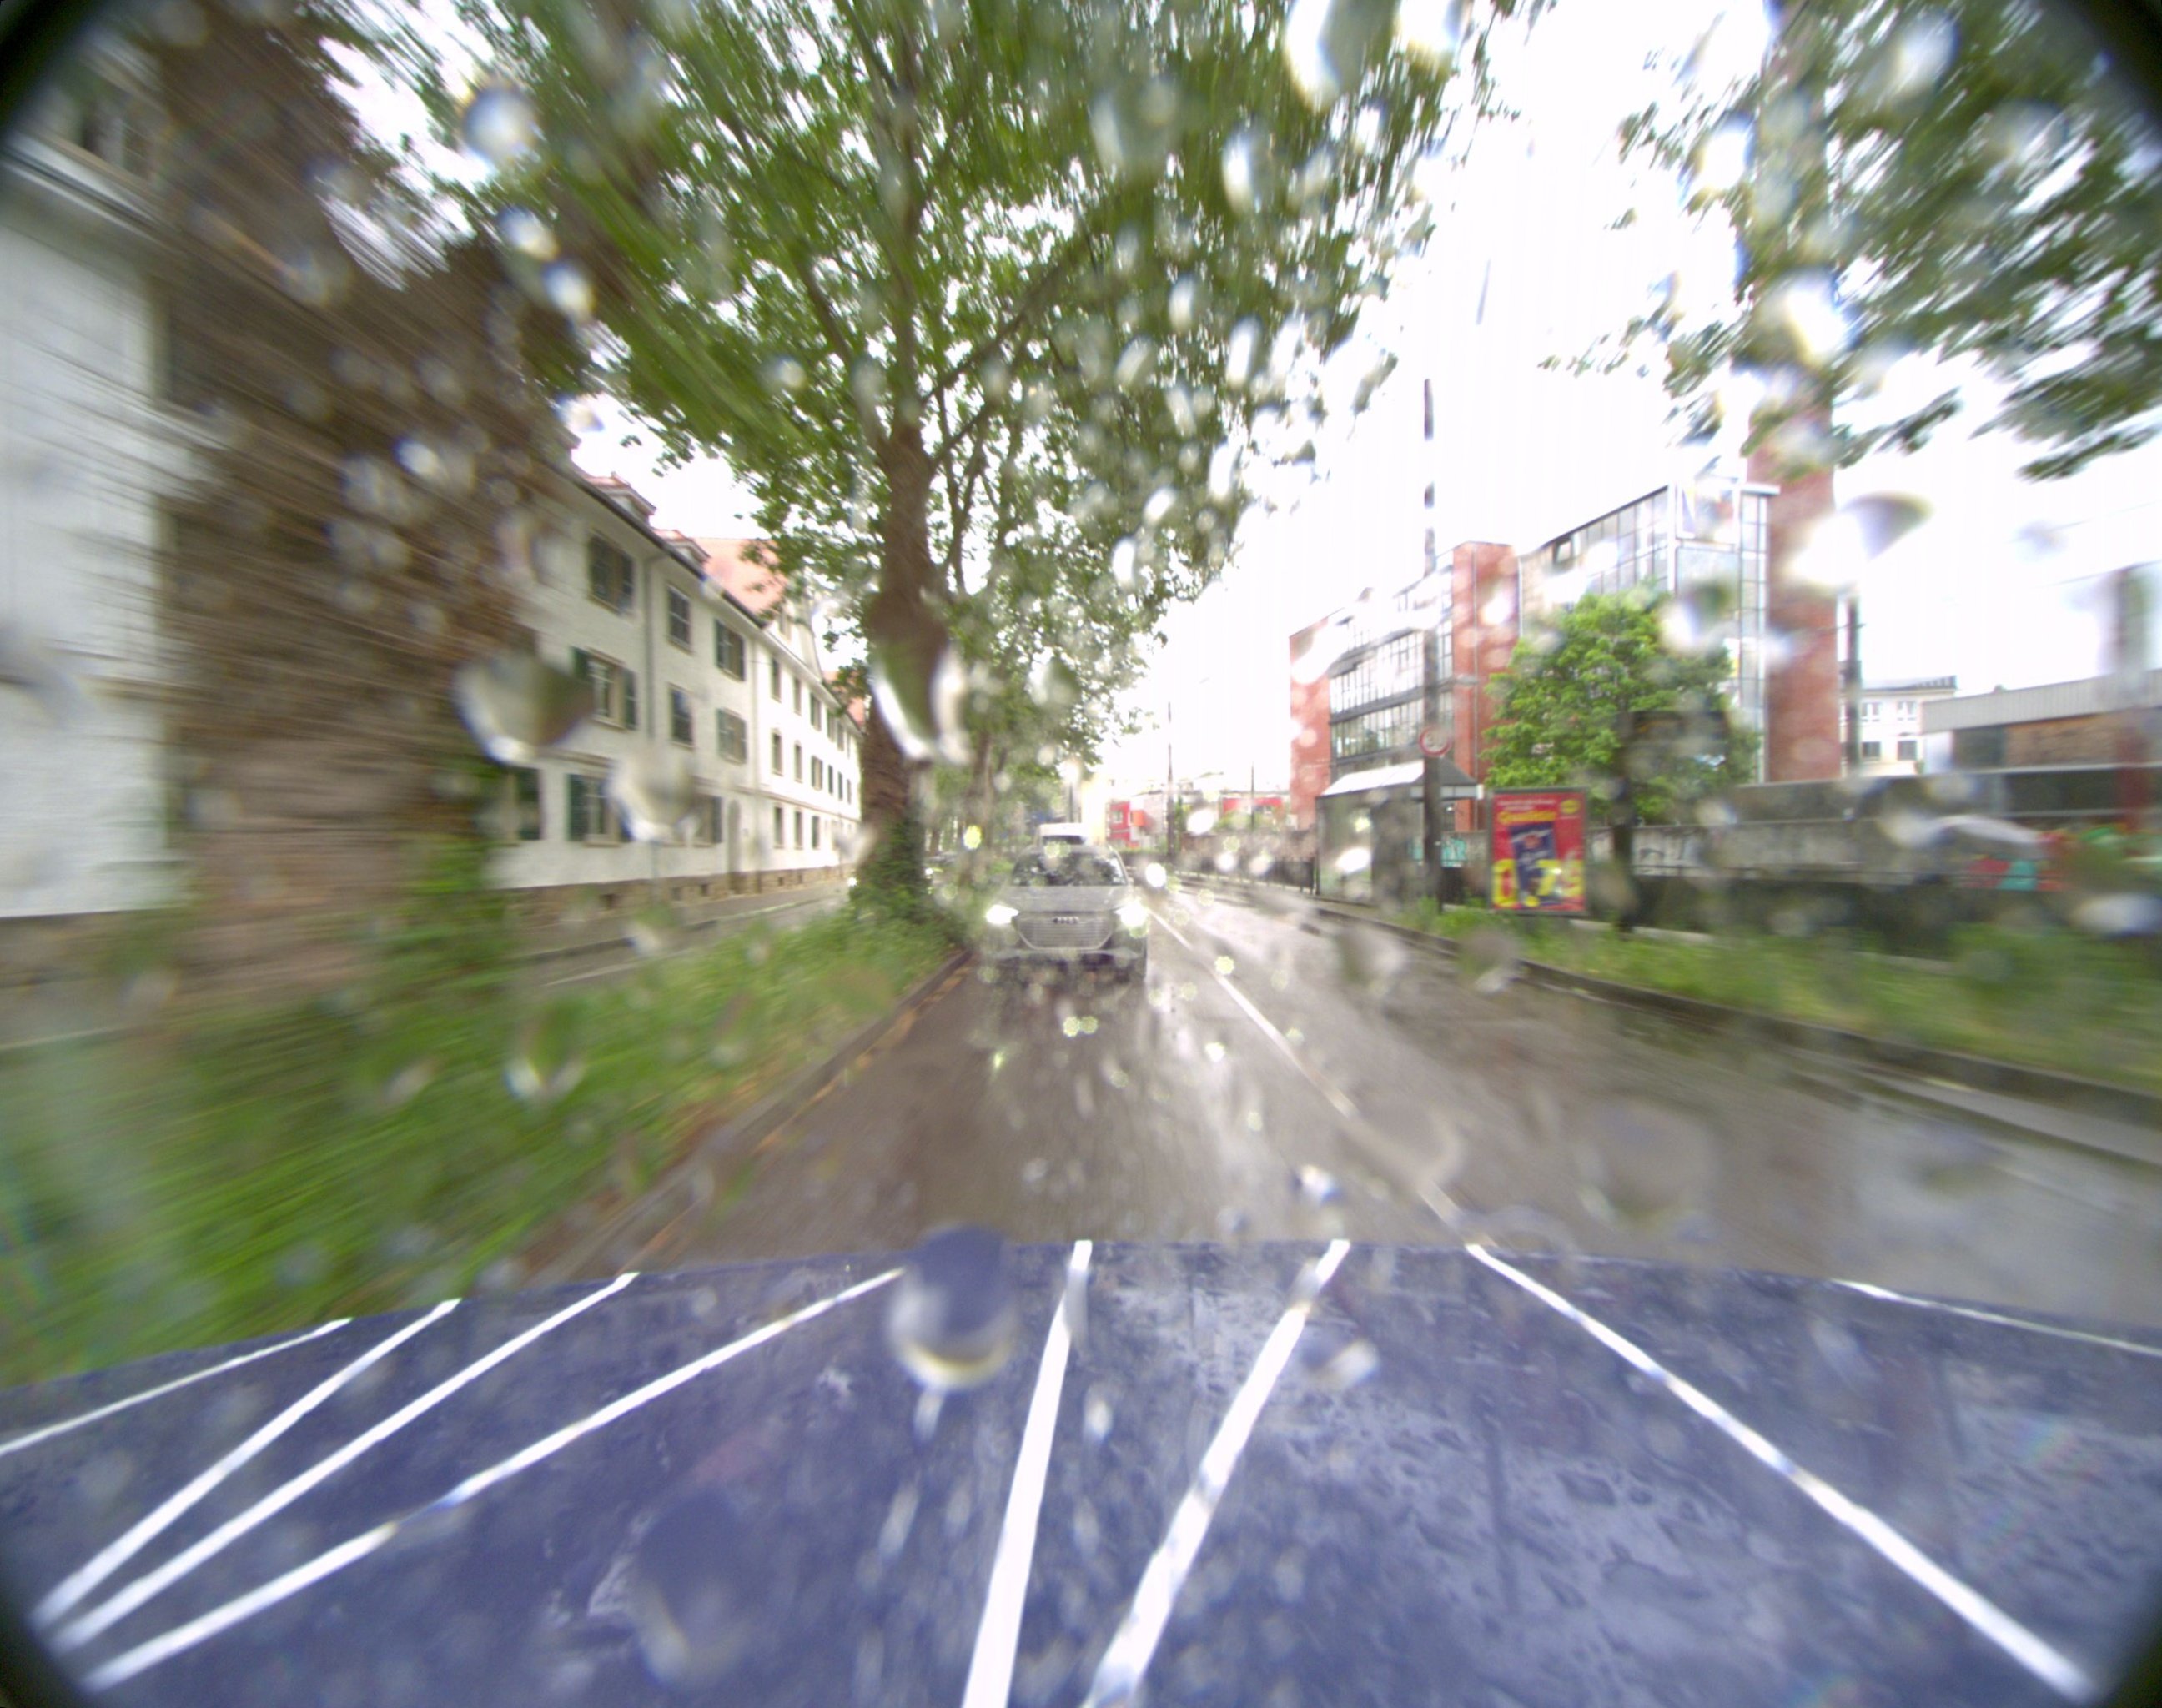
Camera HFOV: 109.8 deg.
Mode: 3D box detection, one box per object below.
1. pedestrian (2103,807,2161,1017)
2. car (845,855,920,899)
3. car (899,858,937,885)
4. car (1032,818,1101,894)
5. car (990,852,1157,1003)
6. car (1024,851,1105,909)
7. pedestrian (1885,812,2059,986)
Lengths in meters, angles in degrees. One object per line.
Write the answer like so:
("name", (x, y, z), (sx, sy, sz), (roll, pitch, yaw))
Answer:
("pedestrian", (9.084, 0.455, 6.047), (0.860, 1.678, 0.848), (-1, 0, -12))
("car", (-7.407, 0.820, 28.799), (1.782, 1.425, 4.397), (-3, 1, -2))
("car", (-9.668, 1.006, 45.332), (1.929, 1.413, 3.661), (-4, 1, -10))
("car", (-0.536, 0.010, 29.195), (2.283, 2.548, 6.509), (-1, 1, -1))
("car", (-0.196, 0.806, 10.424), (1.809, 1.611, 4.136), (-1, 0, -3))
("car", (-0.553, 0.646, 21.223), (1.854, 1.435, 3.997), (-1, 0, -7))
("pedestrian", (9.167, 0.432, 7.850), (0.860, 1.678, 0.848), (-1, 0, -12))
